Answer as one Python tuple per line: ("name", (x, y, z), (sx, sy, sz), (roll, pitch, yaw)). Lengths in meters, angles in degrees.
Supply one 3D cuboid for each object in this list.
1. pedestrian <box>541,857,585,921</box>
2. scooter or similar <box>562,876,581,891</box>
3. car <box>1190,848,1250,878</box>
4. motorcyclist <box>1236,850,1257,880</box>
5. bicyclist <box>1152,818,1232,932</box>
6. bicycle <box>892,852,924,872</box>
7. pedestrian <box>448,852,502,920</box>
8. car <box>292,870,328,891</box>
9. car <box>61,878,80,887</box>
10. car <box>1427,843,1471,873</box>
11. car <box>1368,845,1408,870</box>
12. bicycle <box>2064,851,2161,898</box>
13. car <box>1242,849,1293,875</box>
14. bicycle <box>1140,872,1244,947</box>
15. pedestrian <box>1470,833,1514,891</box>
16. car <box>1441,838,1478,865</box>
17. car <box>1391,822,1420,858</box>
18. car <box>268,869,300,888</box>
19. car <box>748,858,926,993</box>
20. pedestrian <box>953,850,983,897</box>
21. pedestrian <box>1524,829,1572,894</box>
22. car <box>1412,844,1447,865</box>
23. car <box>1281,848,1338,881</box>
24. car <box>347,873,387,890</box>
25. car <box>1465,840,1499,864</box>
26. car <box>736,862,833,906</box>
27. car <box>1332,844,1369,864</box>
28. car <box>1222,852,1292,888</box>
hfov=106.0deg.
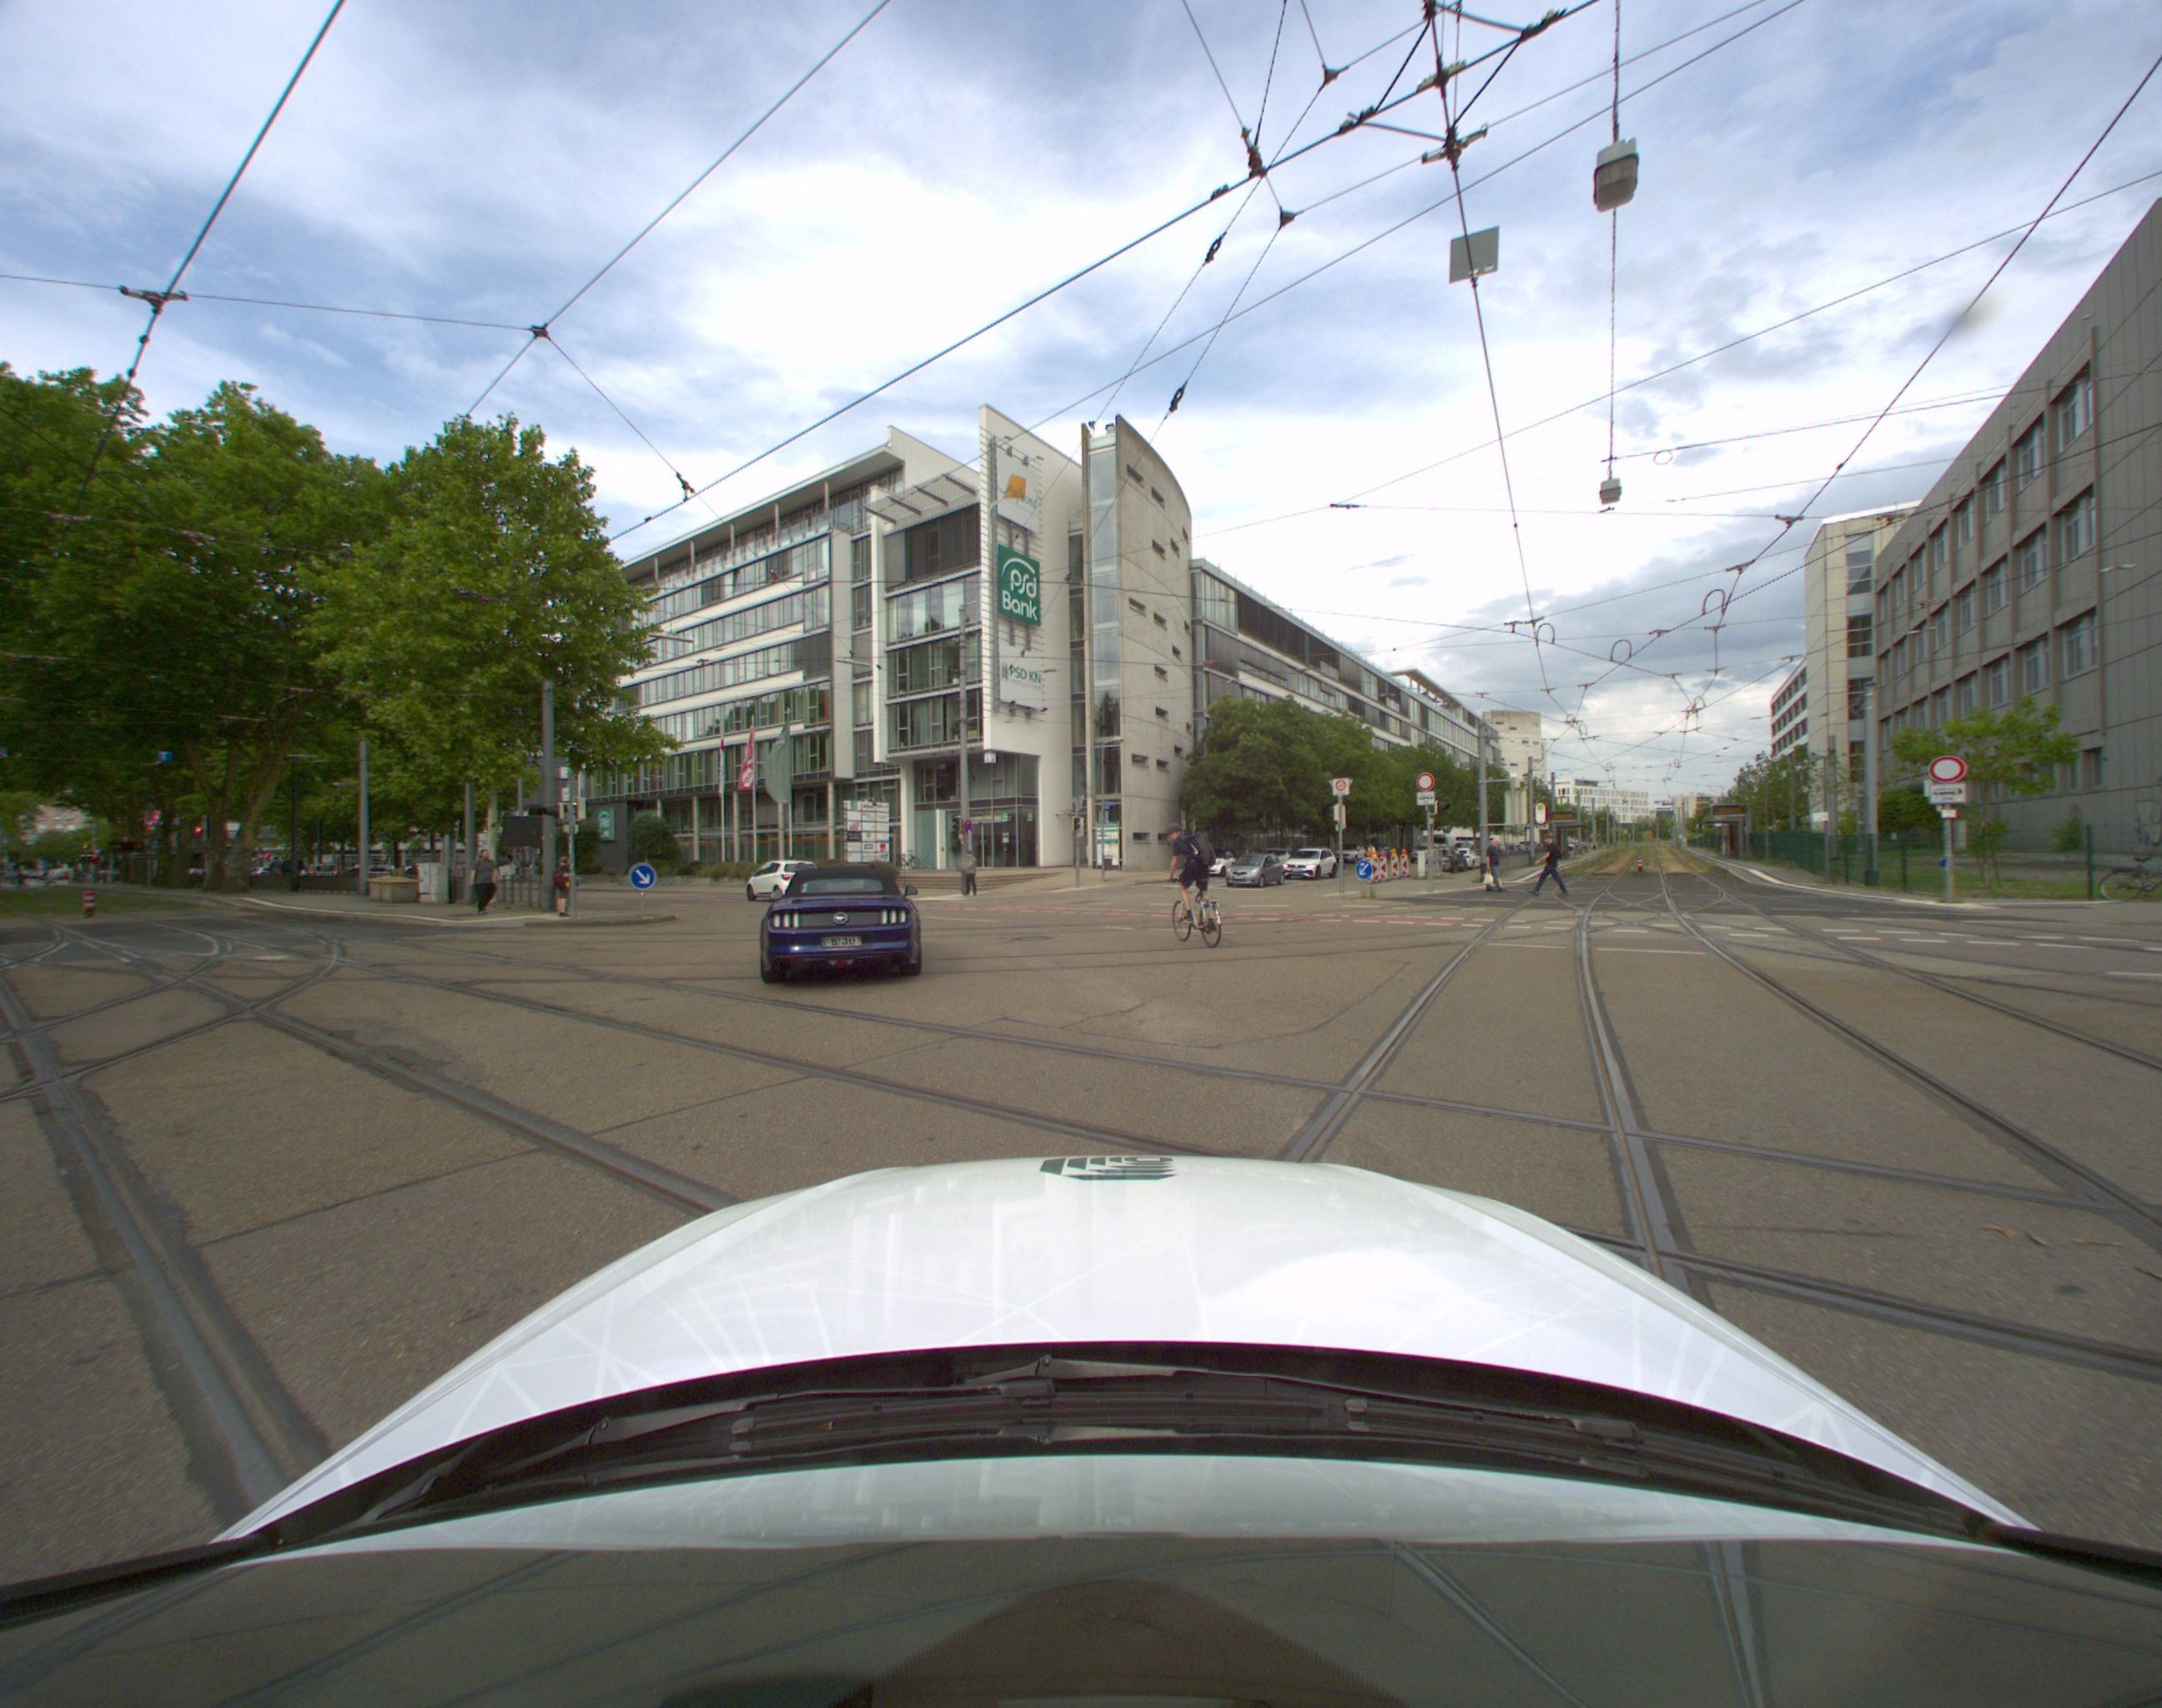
("pedestrian", (-13.969, 0.926, 21.959), (0.926, 1.671, 0.770), (-2, -1, 43))
("scooter or similar", (-34.556, 1.986, 55.206), (1.836, 0.950, 0.593), (-2, 0, 41))
("car", (8.083, 0.480, 47.021), (1.812, 1.556, 4.244), (1, 1, 34))
("motorcyclist", (8.962, 0.587, 43.980), (0.811, 1.616, 0.888), (0, 0, 35))
("bicyclist", (1.821, 0.326, 13.495), (0.799, 1.785, 1.224), (-1, 0, -21))
("bicycle", (-10.415, 0.452, 49.167), (0.579, 1.177, 2.128), (0, 0, 32))
("pedestrian", (-17.045, 0.896, 22.915), (0.837, 1.855, 0.843), (-2, 0, 10))
("car", (-75.996, 2.615, 80.236), (4.075, 1.903, 1.908), (-2, 0, 37))
("car", (-167.231, 4.706, 134.764), (4.121, 1.521, 1.853), (-2, 0, 37))
("car", (21.097, 0.190, 46.620), (1.861, 1.628, 4.112), (-2, 0, 30))
("car", (21.694, 0.194, 57.557), (1.698, 1.660, 4.159), (1, 1, 34))
("bicycle", (22.602, 0.432, 17.271), (0.632, 0.981, 2.150), (-1, -3, -11))
("car", (12.210, 0.471, 53.105), (1.812, 1.556, 4.244), (1, 1, 34))
("bicycle", (1.801, 0.872, 13.560), (0.803, 1.086, 2.117), (-1, 0, -20))
("pedestrian", (13.505, 0.245, 26.745), (0.906, 1.855, 0.980), (-1, -1, -41))
("car", (23.867, -0.185, 51.221), (1.688, 1.606, 4.104), (-2, 0, 30))
("car", (33.525, -1.432, 83.996), (1.967, 3.636, 4.541), (1, 1, 32))
("car", (-85.948, 2.625, 87.850), (4.121, 1.903, 1.853), (-2, 0, 37))
("car", (-3.199, 0.790, 11.124), (1.879, 1.404, 4.261), (-1, 0, -14))
("pedestrian", (-4.512, 0.768, 32.538), (0.826, 1.865, 0.770), (-2, -1, 43))
("pedestrian", (13.986, 0.233, 24.381), (1.075, 1.898, 0.907), (-2, -1, 40))
("car", (28.858, 0.011, 67.380), (1.885, 1.585, 4.208), (1, 1, 34))
("car", (12.339, 0.527, 43.893), (1.698, 1.660, 4.159), (1, 1, 34))
("car", (-66.960, 2.569, 76.313), (4.269, 1.582, 1.898), (-1, -1, 36))
("car", (28.655, -0.142, 58.141), (1.850, 1.606, 4.239), (-2, 0, 30))
("car", (-10.848, 1.049, 29.675), (1.851, 1.439, 4.136), (-1, 0, -43))
("car", (22.614, -0.007, 68.222), (1.967, 1.556, 4.541), (1, 1, 32))
("car", (8.233, 0.693, 37.826), (1.652, 1.506, 4.262), (1, 1, 34))
